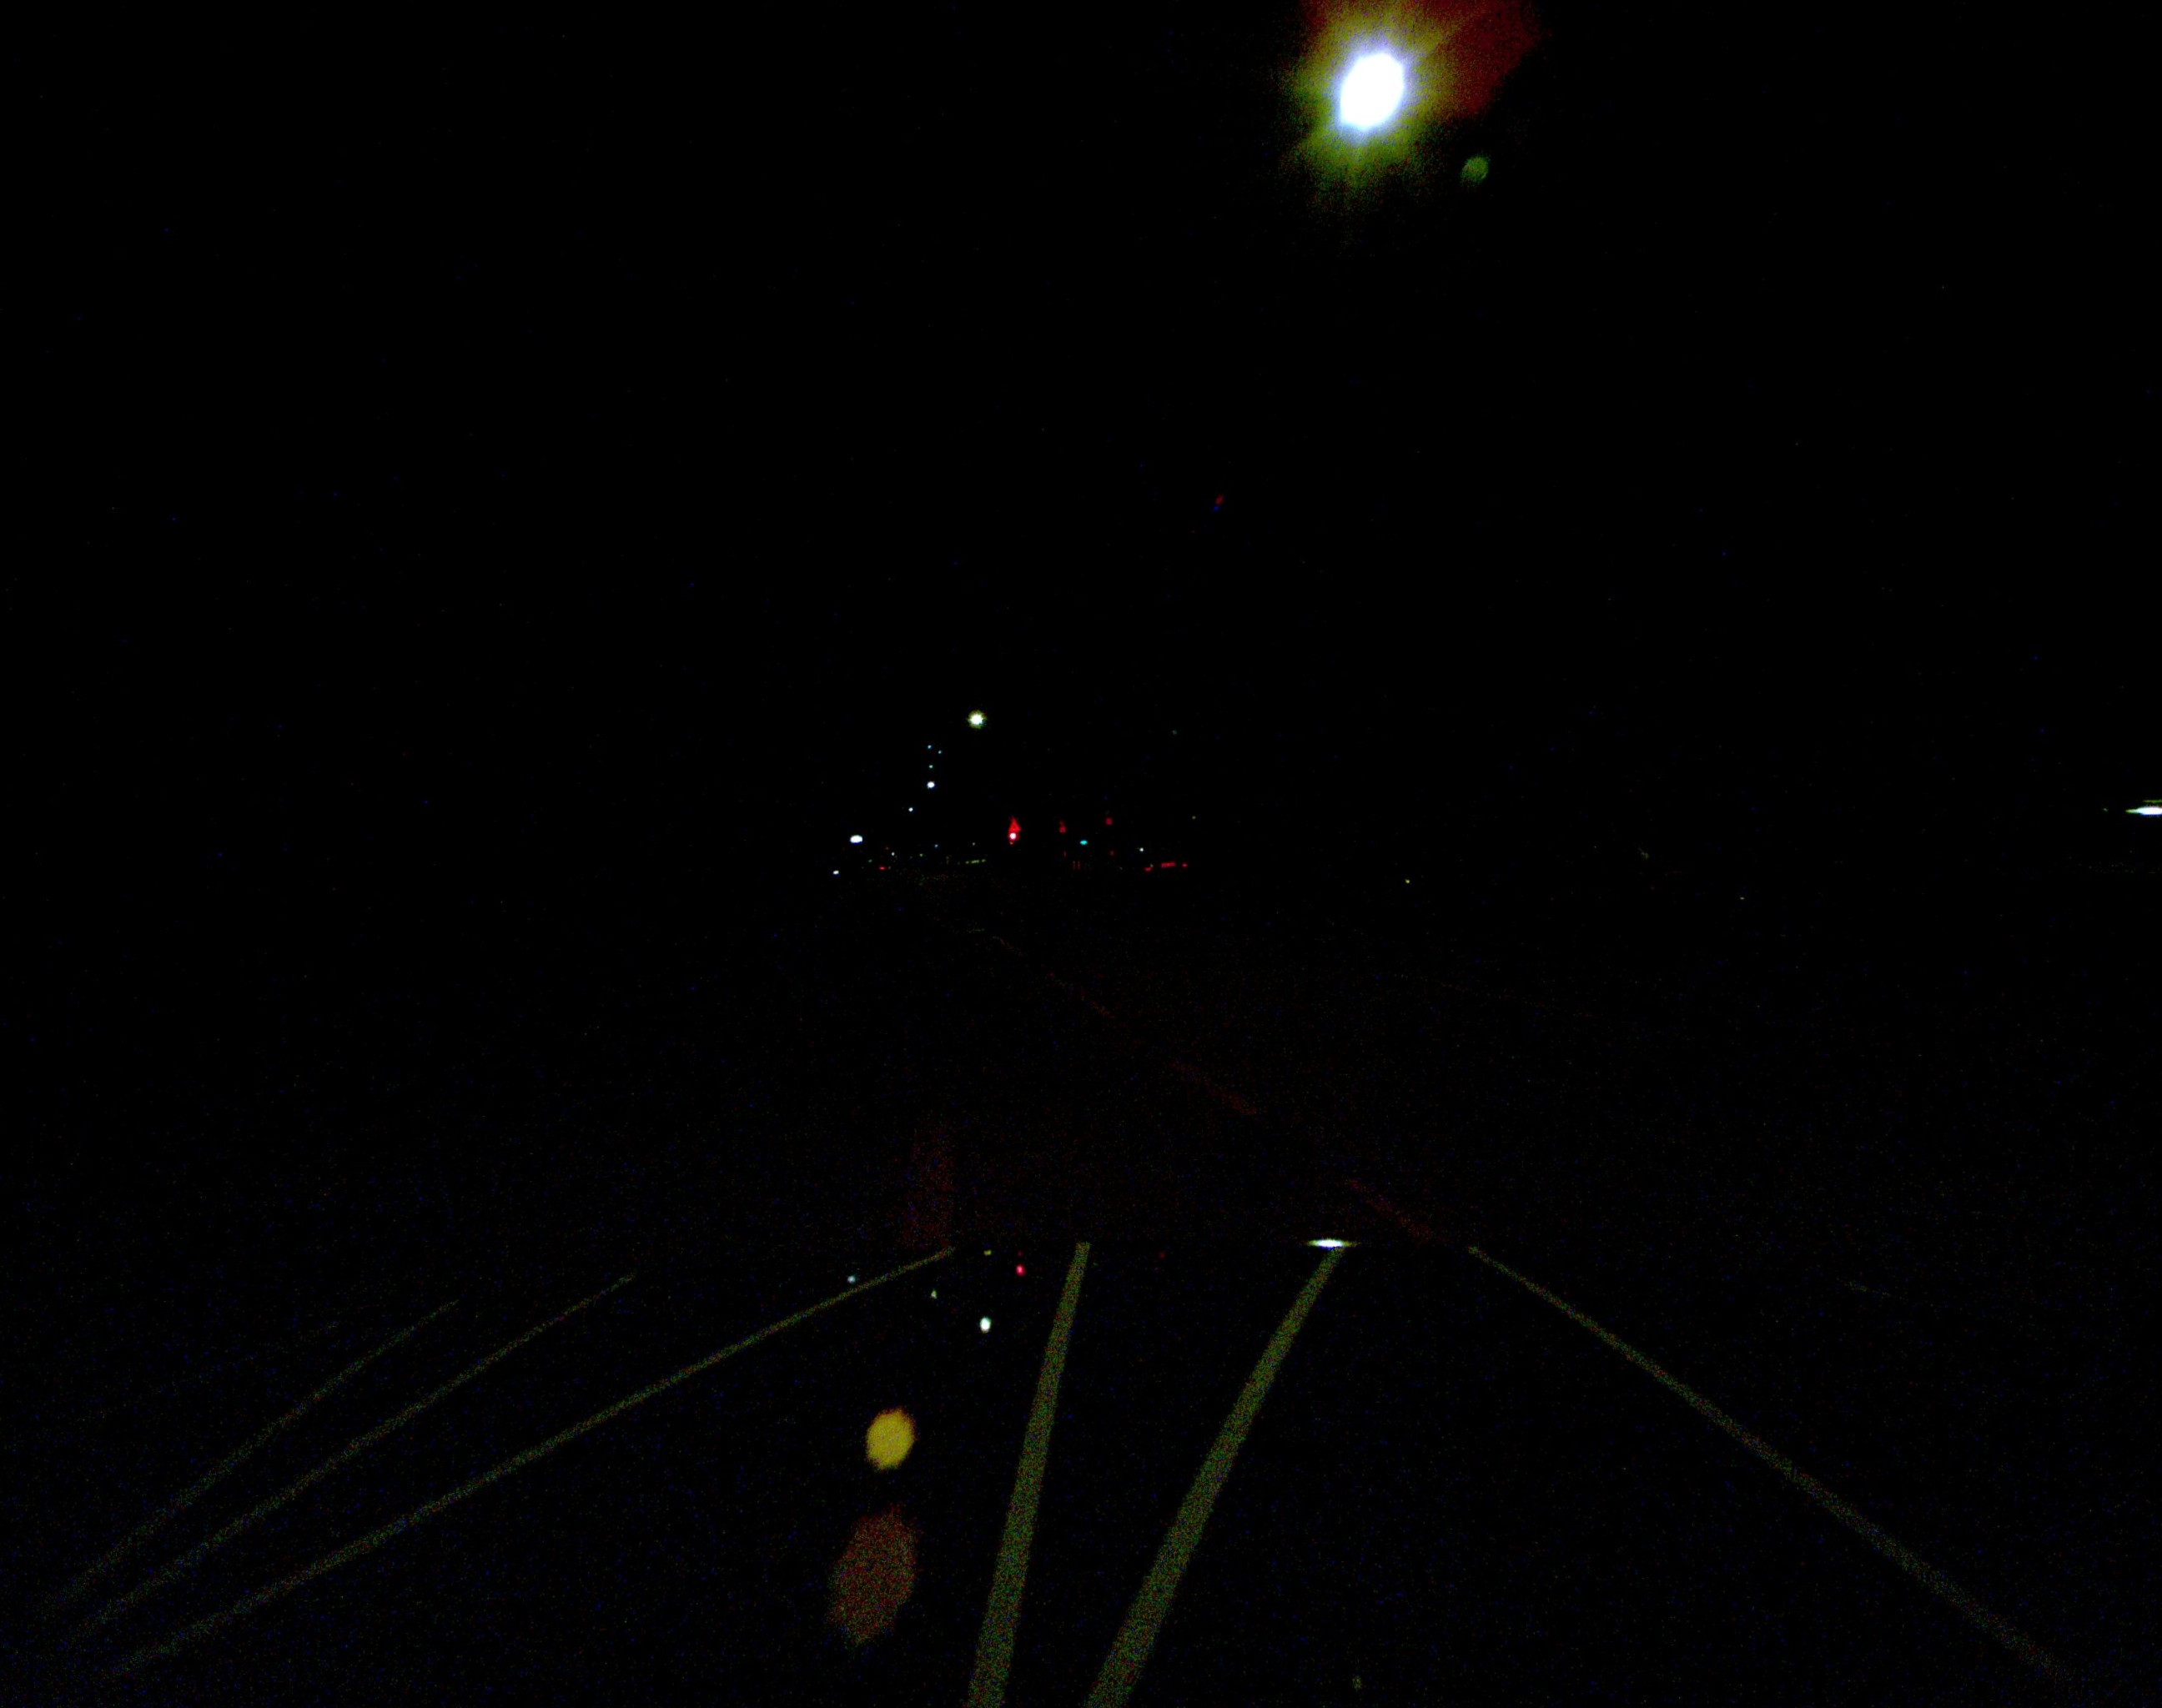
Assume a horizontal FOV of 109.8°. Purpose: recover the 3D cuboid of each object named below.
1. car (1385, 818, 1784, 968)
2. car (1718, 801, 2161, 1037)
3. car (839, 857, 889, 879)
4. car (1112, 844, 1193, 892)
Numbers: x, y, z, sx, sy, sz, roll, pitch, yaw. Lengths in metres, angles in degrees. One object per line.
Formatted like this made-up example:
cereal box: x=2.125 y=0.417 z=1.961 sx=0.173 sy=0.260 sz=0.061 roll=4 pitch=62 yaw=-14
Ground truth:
car: x=6.284 y=0.413 z=10.205 sx=1.644 sy=1.425 sz=4.343 roll=-6 pitch=1 yaw=-17
car: x=7.527 y=0.387 z=5.481 sx=1.557 sy=1.425 sz=4.342 roll=-6 pitch=1 yaw=-14
car: x=-18.857 y=1.209 z=66.113 sx=4.002 sy=1.622 sz=1.871 roll=-3 pitch=1 yaw=-15
car: x=2.388 y=0.457 z=26.227 sx=1.634 sy=1.455 sz=3.510 roll=-3 pitch=1 yaw=-14
